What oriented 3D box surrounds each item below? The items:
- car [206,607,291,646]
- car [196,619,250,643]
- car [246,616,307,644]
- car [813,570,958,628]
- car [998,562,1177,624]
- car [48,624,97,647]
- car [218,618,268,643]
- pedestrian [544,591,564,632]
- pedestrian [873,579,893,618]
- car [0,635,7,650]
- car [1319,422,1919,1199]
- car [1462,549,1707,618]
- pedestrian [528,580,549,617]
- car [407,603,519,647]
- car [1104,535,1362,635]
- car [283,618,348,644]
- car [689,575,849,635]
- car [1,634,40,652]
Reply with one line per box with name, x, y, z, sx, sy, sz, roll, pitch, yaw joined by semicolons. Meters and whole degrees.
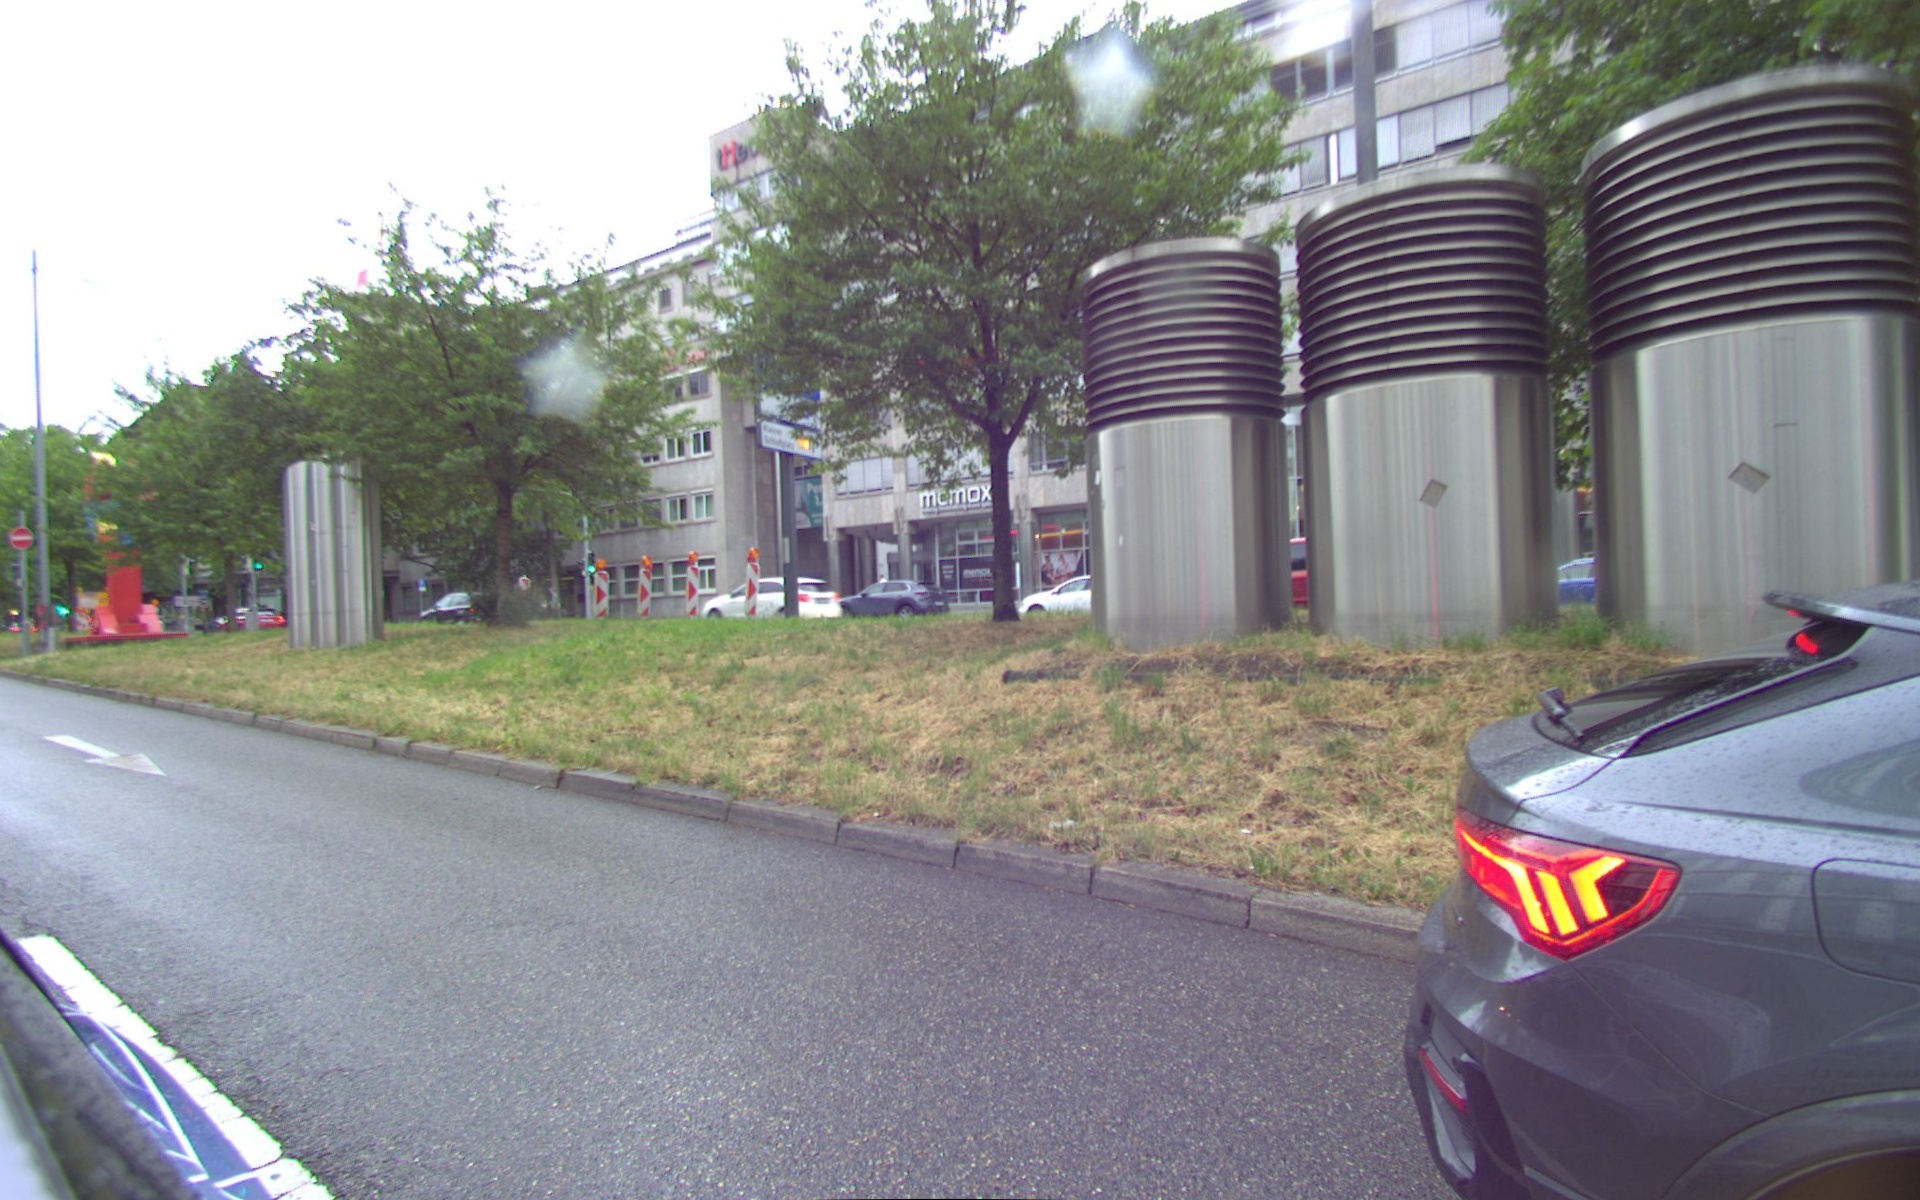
car;-33.821;1.265;48.078;3.987;1.713;1.930;-2;0;33
car;-50.480;2.122;69.283;4.568;1.498;1.769;-2;-1;38
car;-42.895;1.874;63.488;4.461;1.634;1.844;-2;-1;38
car;-2.543;0.016;33.691;4.785;1.739;1.844;-2;-1;38
car;3.604;-0.149;29.189;4.906;1.634;1.759;-2;-1;38
car;-61.177;2.453;69.770;4.127;1.440;1.843;-2;-1;39
car;-47.004;2.022;66.344;3.687;1.514;1.670;-2;-1;38
pedestrian;-18.106;0.497;45.134;0.721;1.801;0.522;-2;0;42
pedestrian;-3.604;-0.090;47.581;0.528;1.801;0.712;-2;0;38
car;-94.828;4.193;99.091;3.996;1.425;1.771;-2;-2;40
car;2.812;0.540;1.007;4.245;1.628;1.831;-2;0;37
car;13.839;-0.338;22.627;4.465;1.335;1.876;-2;0;34
pedestrian;-18.999;-0.065;45.643;0.619;1.641;0.599;-2;0;41
car;-18.064;0.906;36.738;3.987;1.486;1.853;-2;0;33
car;5.303;-0.246;19.890;4.568;1.740;1.711;-2;0;33
car;-38.579;1.864;60.566;4.559;1.440;1.844;-2;-1;38
car;-5.264;0.149;27.725;4.180;1.486;1.805;-2;0;33
car;-79.801;3.645;85.931;4.561;1.440;1.843;-2;-1;40
